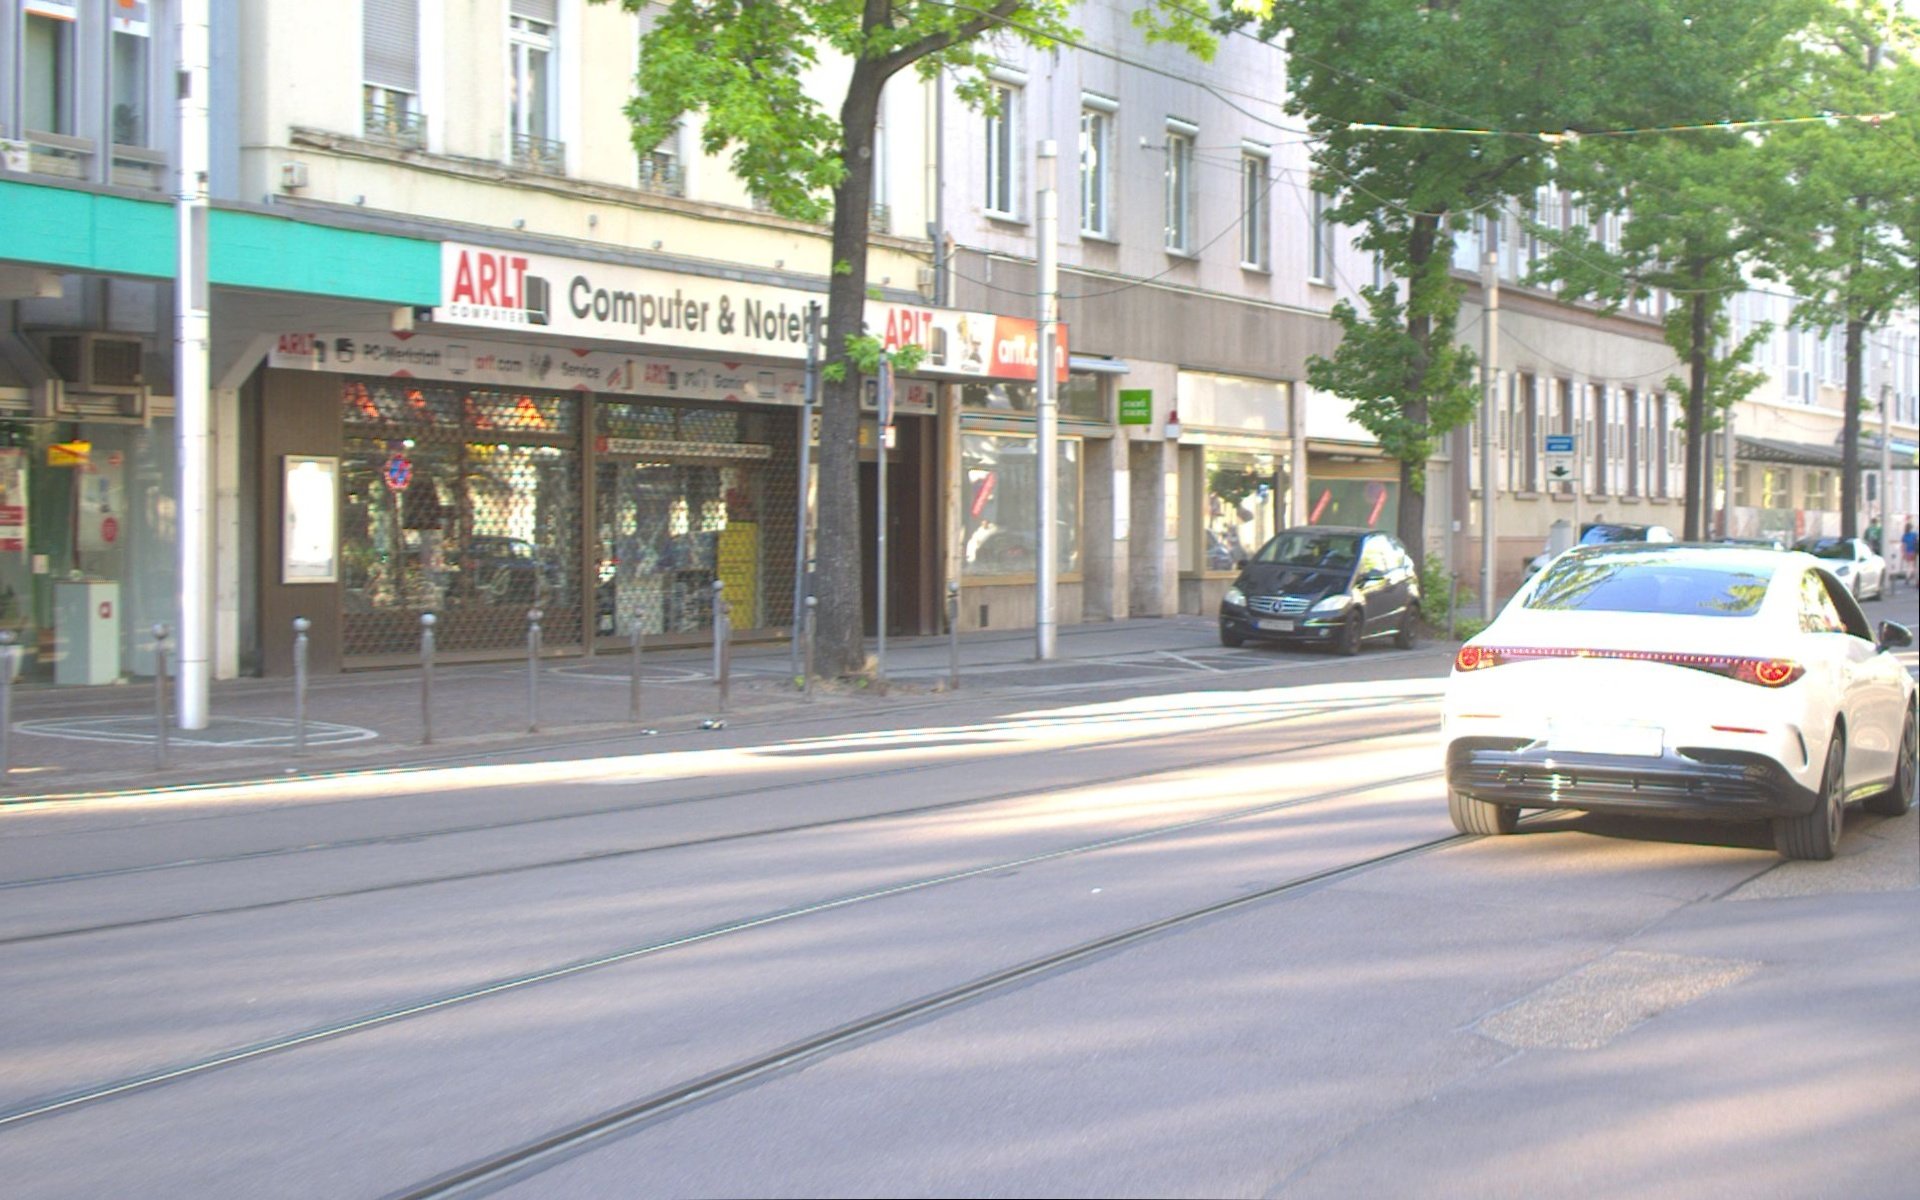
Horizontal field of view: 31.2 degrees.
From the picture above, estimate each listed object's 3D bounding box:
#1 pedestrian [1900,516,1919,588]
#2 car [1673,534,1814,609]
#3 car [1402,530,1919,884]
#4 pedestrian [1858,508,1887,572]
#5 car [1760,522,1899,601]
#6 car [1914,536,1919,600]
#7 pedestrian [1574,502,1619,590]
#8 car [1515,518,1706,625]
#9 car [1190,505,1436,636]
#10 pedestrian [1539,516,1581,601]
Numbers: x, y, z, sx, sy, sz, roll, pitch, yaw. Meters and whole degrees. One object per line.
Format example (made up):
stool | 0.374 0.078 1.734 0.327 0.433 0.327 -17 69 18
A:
pedestrian | 26.578 -1.347 95.764 0.708 1.997 0.675 1 1 18
car | 15.708 -0.583 68.743 1.964 1.408 4.841 1 1 22
car | 3.687 0.430 17.433 1.870 1.464 4.038 3 2 21
pedestrian | 25.533 -1.678 96.181 0.708 1.800 0.675 1 1 20
car | 19.198 -0.856 75.776 1.949 1.634 4.902 2 1 26
car | 27.180 -0.846 92.572 1.964 1.686 5.006 1 1 26
pedestrian | 12.623 -1.068 68.146 0.687 1.715 0.655 2 1 25
car | 11.114 -0.500 58.500 1.965 1.634 4.806 4 2 25
car | 4.701 -0.404 45.314 1.964 1.634 3.994 1 1 26
pedestrian | 12.011 -0.831 68.757 0.675 1.674 0.647 1 1 25
